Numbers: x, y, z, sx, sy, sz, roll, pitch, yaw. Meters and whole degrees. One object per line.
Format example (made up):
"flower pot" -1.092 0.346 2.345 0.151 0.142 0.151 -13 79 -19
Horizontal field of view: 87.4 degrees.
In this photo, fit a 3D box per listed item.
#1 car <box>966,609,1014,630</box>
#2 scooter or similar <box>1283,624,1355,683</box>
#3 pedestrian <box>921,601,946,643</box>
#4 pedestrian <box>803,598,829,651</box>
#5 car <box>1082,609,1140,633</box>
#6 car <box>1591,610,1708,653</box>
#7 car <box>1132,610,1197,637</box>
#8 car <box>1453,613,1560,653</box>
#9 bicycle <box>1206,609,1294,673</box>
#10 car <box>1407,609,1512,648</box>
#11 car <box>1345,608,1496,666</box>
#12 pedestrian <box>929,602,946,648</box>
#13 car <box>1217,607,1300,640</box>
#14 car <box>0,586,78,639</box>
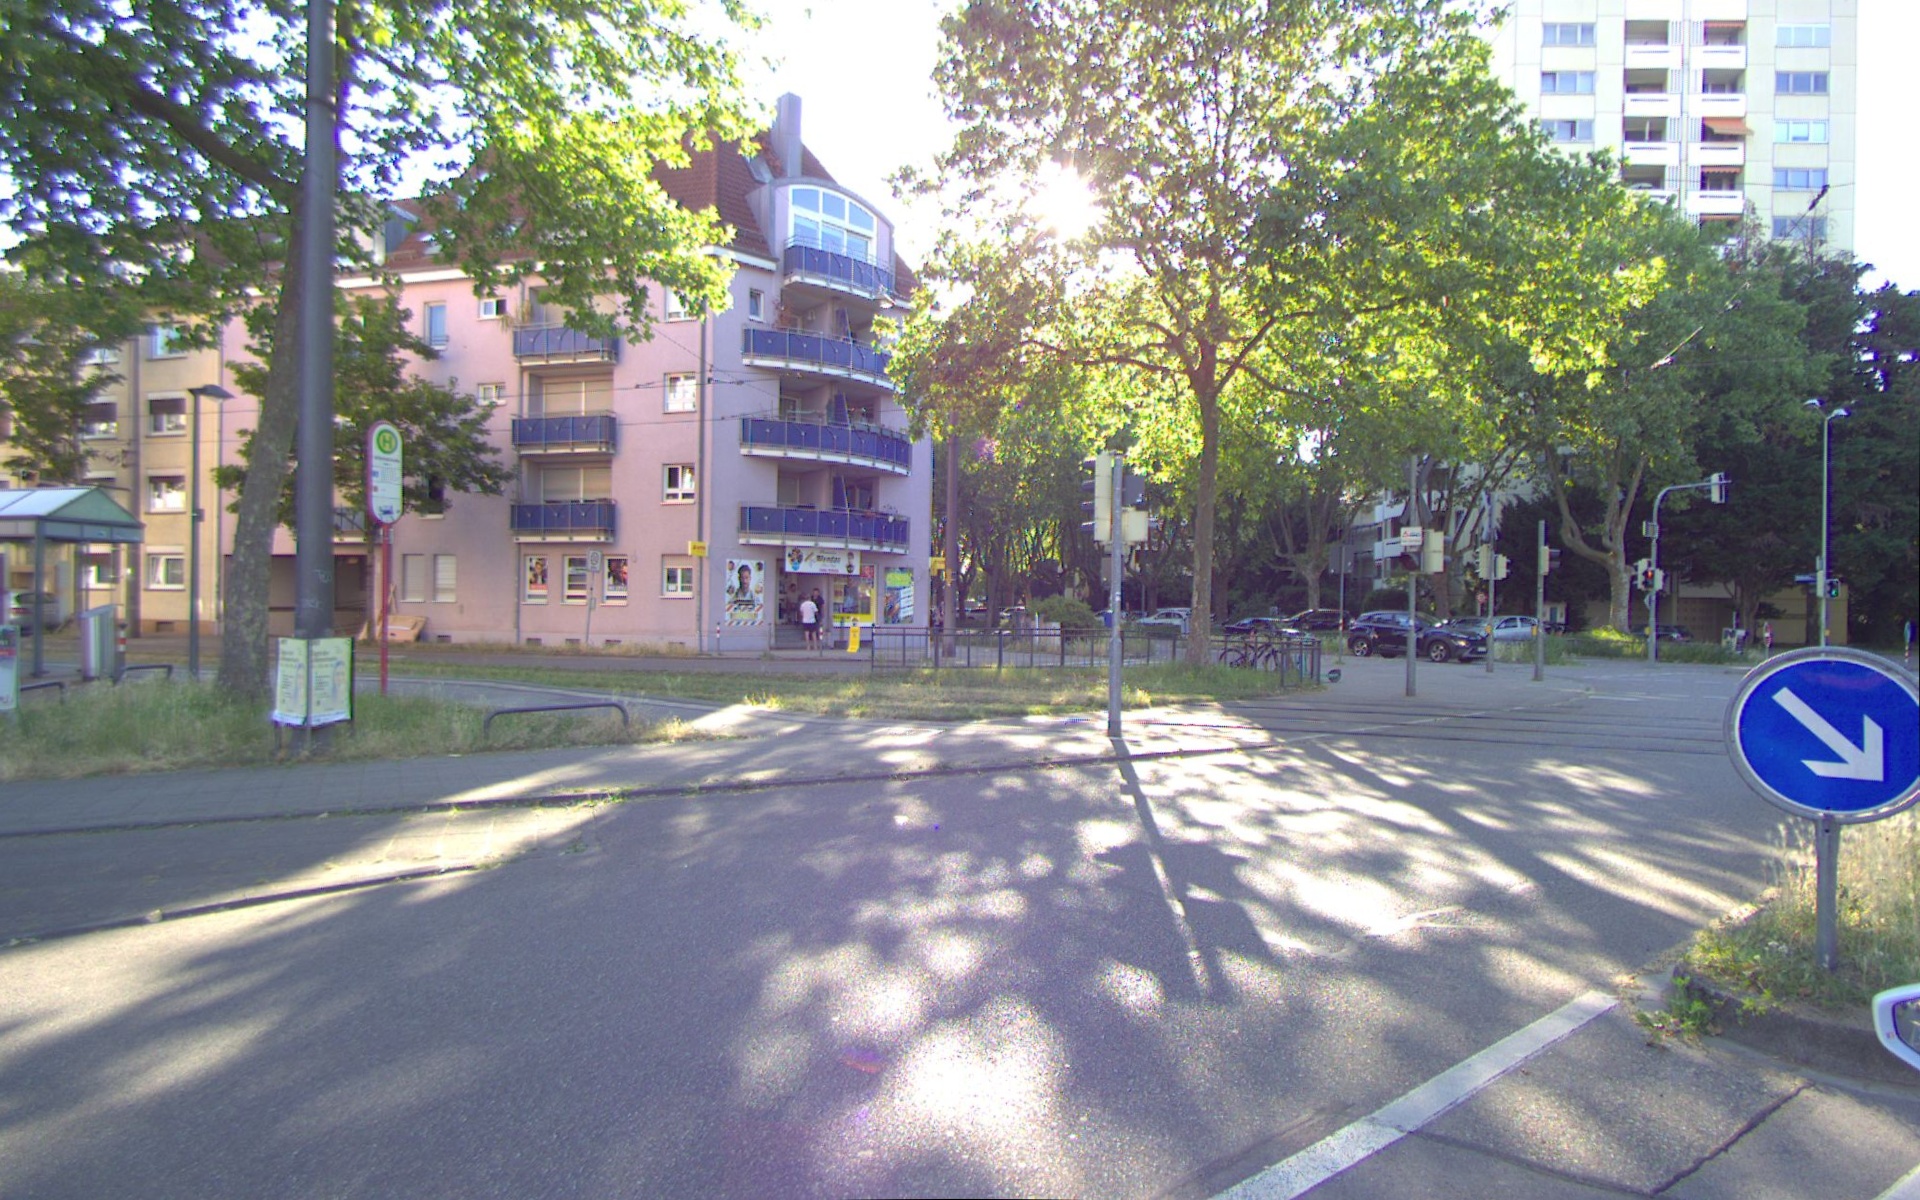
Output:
"car" 2.609 1.676 86.365 3.919 1.617 1.739 2 0 9
"scooter or similar" 7.924 1.173 22.202 1.412 1.255 0.414 2 0 9
"pedestrian" -1.110 0.912 41.488 0.909 1.689 0.619 2 0 -8
"pedestrian" -4.684 0.797 32.675 0.610 1.689 0.549 2 0 38
"car" 11.085 1.528 73.896 3.921 1.617 1.738 2 0 0
"car" 31.622 1.412 46.201 1.971 1.798 3.979 2 0 -22
"car" 13.404 1.556 65.982 3.921 1.617 1.738 2 0 0
"car" 23.882 1.432 43.981 3.732 1.617 1.738 2 0 0
"bicycle" 6.402 0.881 22.244 1.811 1.324 0.382 2 0 34
"car" 22.843 1.299 46.032 3.921 1.617 1.738 2 0 0
"car" 14.326 1.101 31.434 1.722 1.617 3.959 2 0 -36
"pedestrian" -0.838 0.915 37.525 0.540 1.689 0.620 2 0 7
"car" 15.915 1.243 53.680 3.921 1.617 1.738 2 0 0
"car" -33.476 0.399 35.216 4.029 1.728 1.940 2 0 16
